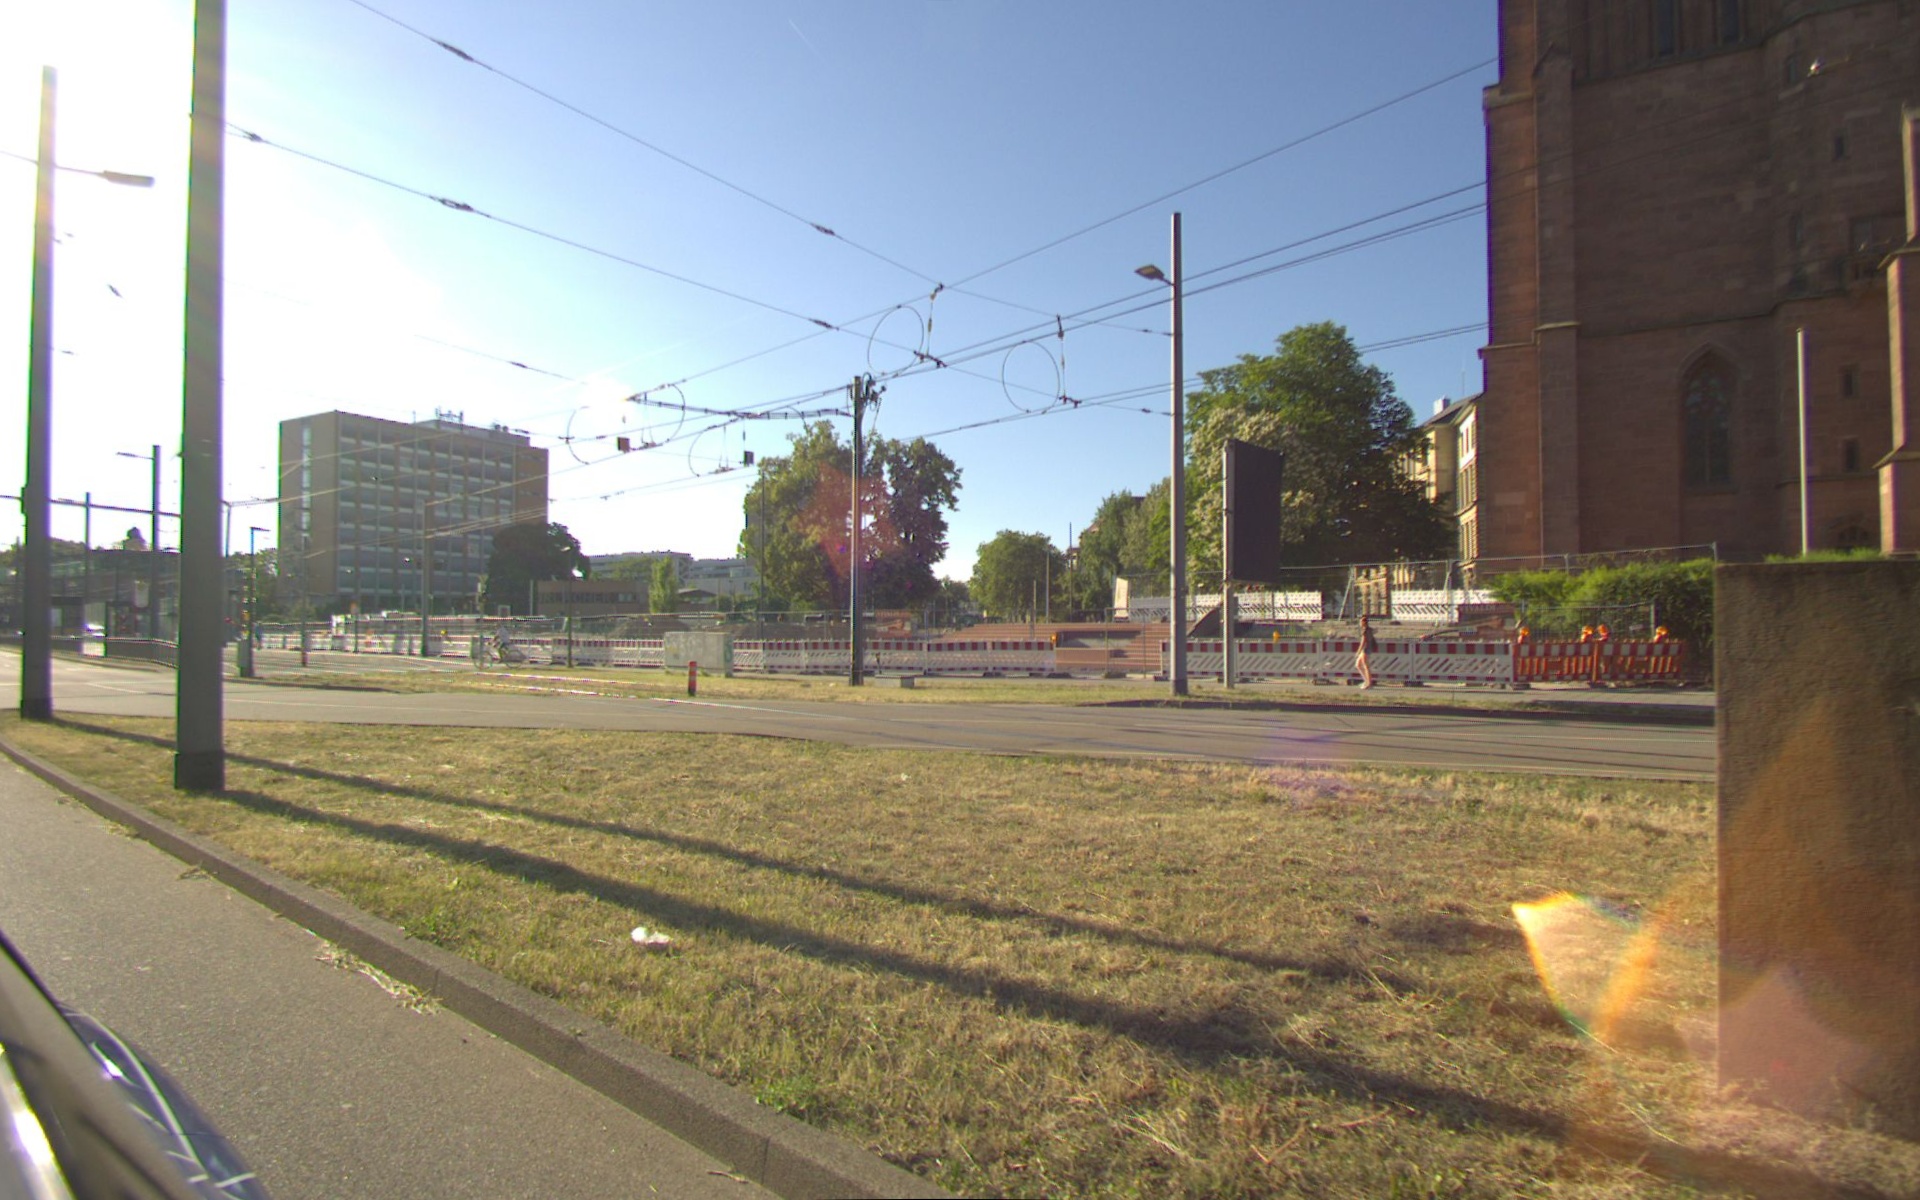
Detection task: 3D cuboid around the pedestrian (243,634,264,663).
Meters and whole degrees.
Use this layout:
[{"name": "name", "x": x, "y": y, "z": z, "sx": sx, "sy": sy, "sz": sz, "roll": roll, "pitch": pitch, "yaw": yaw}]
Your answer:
[{"name": "pedestrian", "x": -44.512, "y": 3.076, "z": 63.743, "sx": 1.179, "sy": 1.782, "sz": 0.793, "roll": -6, "pitch": -6, "yaw": 42}]

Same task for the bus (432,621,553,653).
[{"name": "bus", "x": -53.667, "y": 4.248, "z": 116.492, "sx": 12.471, "sy": 3.219, "sz": 2.843, "roll": -1, "pitch": -5, "yaw": -4}]

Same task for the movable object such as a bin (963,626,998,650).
[{"name": "movable object such as a bin", "x": 1.951, "y": 3.656, "z": 96.657, "sx": 1.987, "sy": 2.029, "sz": 3.969, "roll": -4, "pitch": -5, "yaw": 22}]

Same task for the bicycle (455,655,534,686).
[{"name": "bicycle", "x": -18.233, "y": 2.770, "z": 39.719, "sx": 2.775, "sy": 1.105, "sz": 0.969, "roll": -1, "pitch": -4, "yaw": -24}]

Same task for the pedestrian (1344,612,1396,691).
[{"name": "pedestrian", "x": 9.635, "y": 1.216, "z": 23.796, "sx": 0.862, "sy": 1.787, "sz": 0.720, "roll": -6, "pitch": -6, "yaw": 39}]

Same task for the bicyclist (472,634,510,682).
[{"name": "bicyclist", "x": -18.389, "y": 2.282, "z": 39.705, "sx": 1.296, "sy": 1.823, "sz": 0.969, "roll": -1, "pitch": -4, "yaw": -24}]

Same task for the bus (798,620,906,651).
[{"name": "bus", "x": -12.676, "y": 4.191, "z": 119.383, "sx": 12.471, "sy": 3.219, "sz": 3.253, "roll": -1, "pitch": -5, "yaw": -4}]
